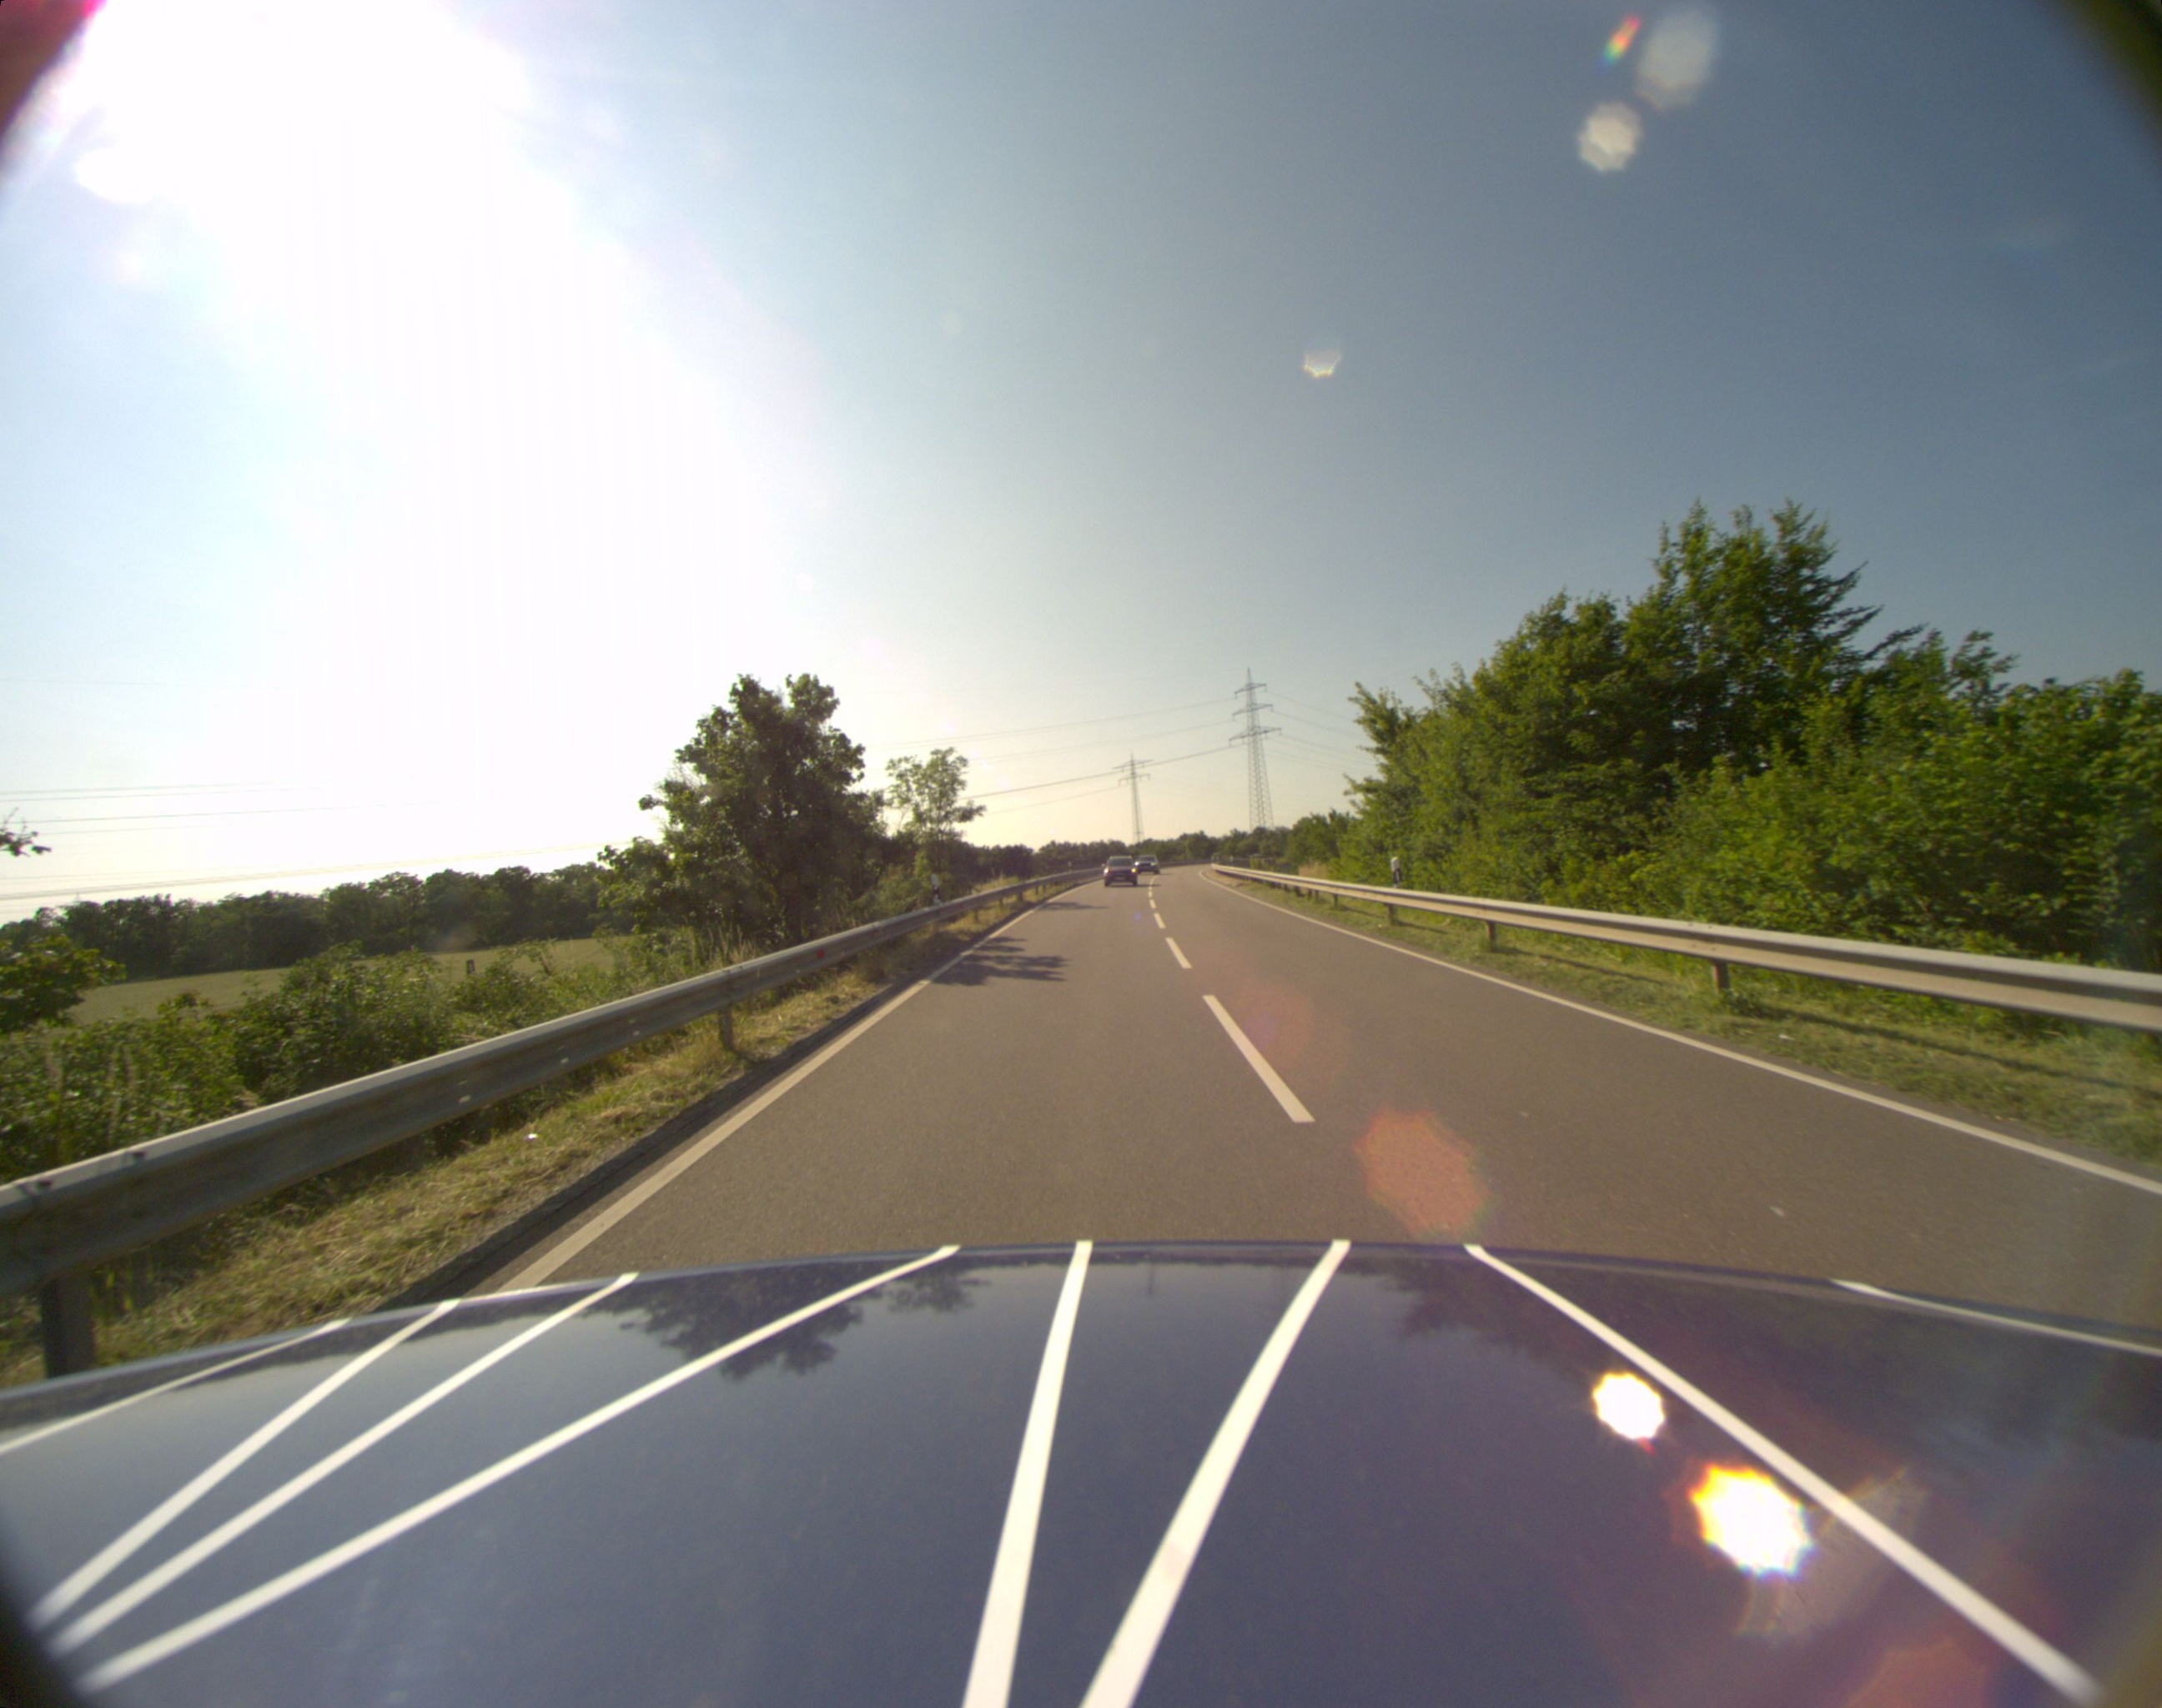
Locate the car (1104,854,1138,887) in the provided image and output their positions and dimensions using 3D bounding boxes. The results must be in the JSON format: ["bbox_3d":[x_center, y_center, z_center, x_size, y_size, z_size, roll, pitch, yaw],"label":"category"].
[{"bbox_3d":[2.098,0.833,39.199,1.606,1.486,4.001,-3,1,4],"label":"car"}]

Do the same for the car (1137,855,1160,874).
[{"bbox_3d":[5.899,0.863,66.268,1.606,1.486,4.002,-3,1,9],"label":"car"}]
